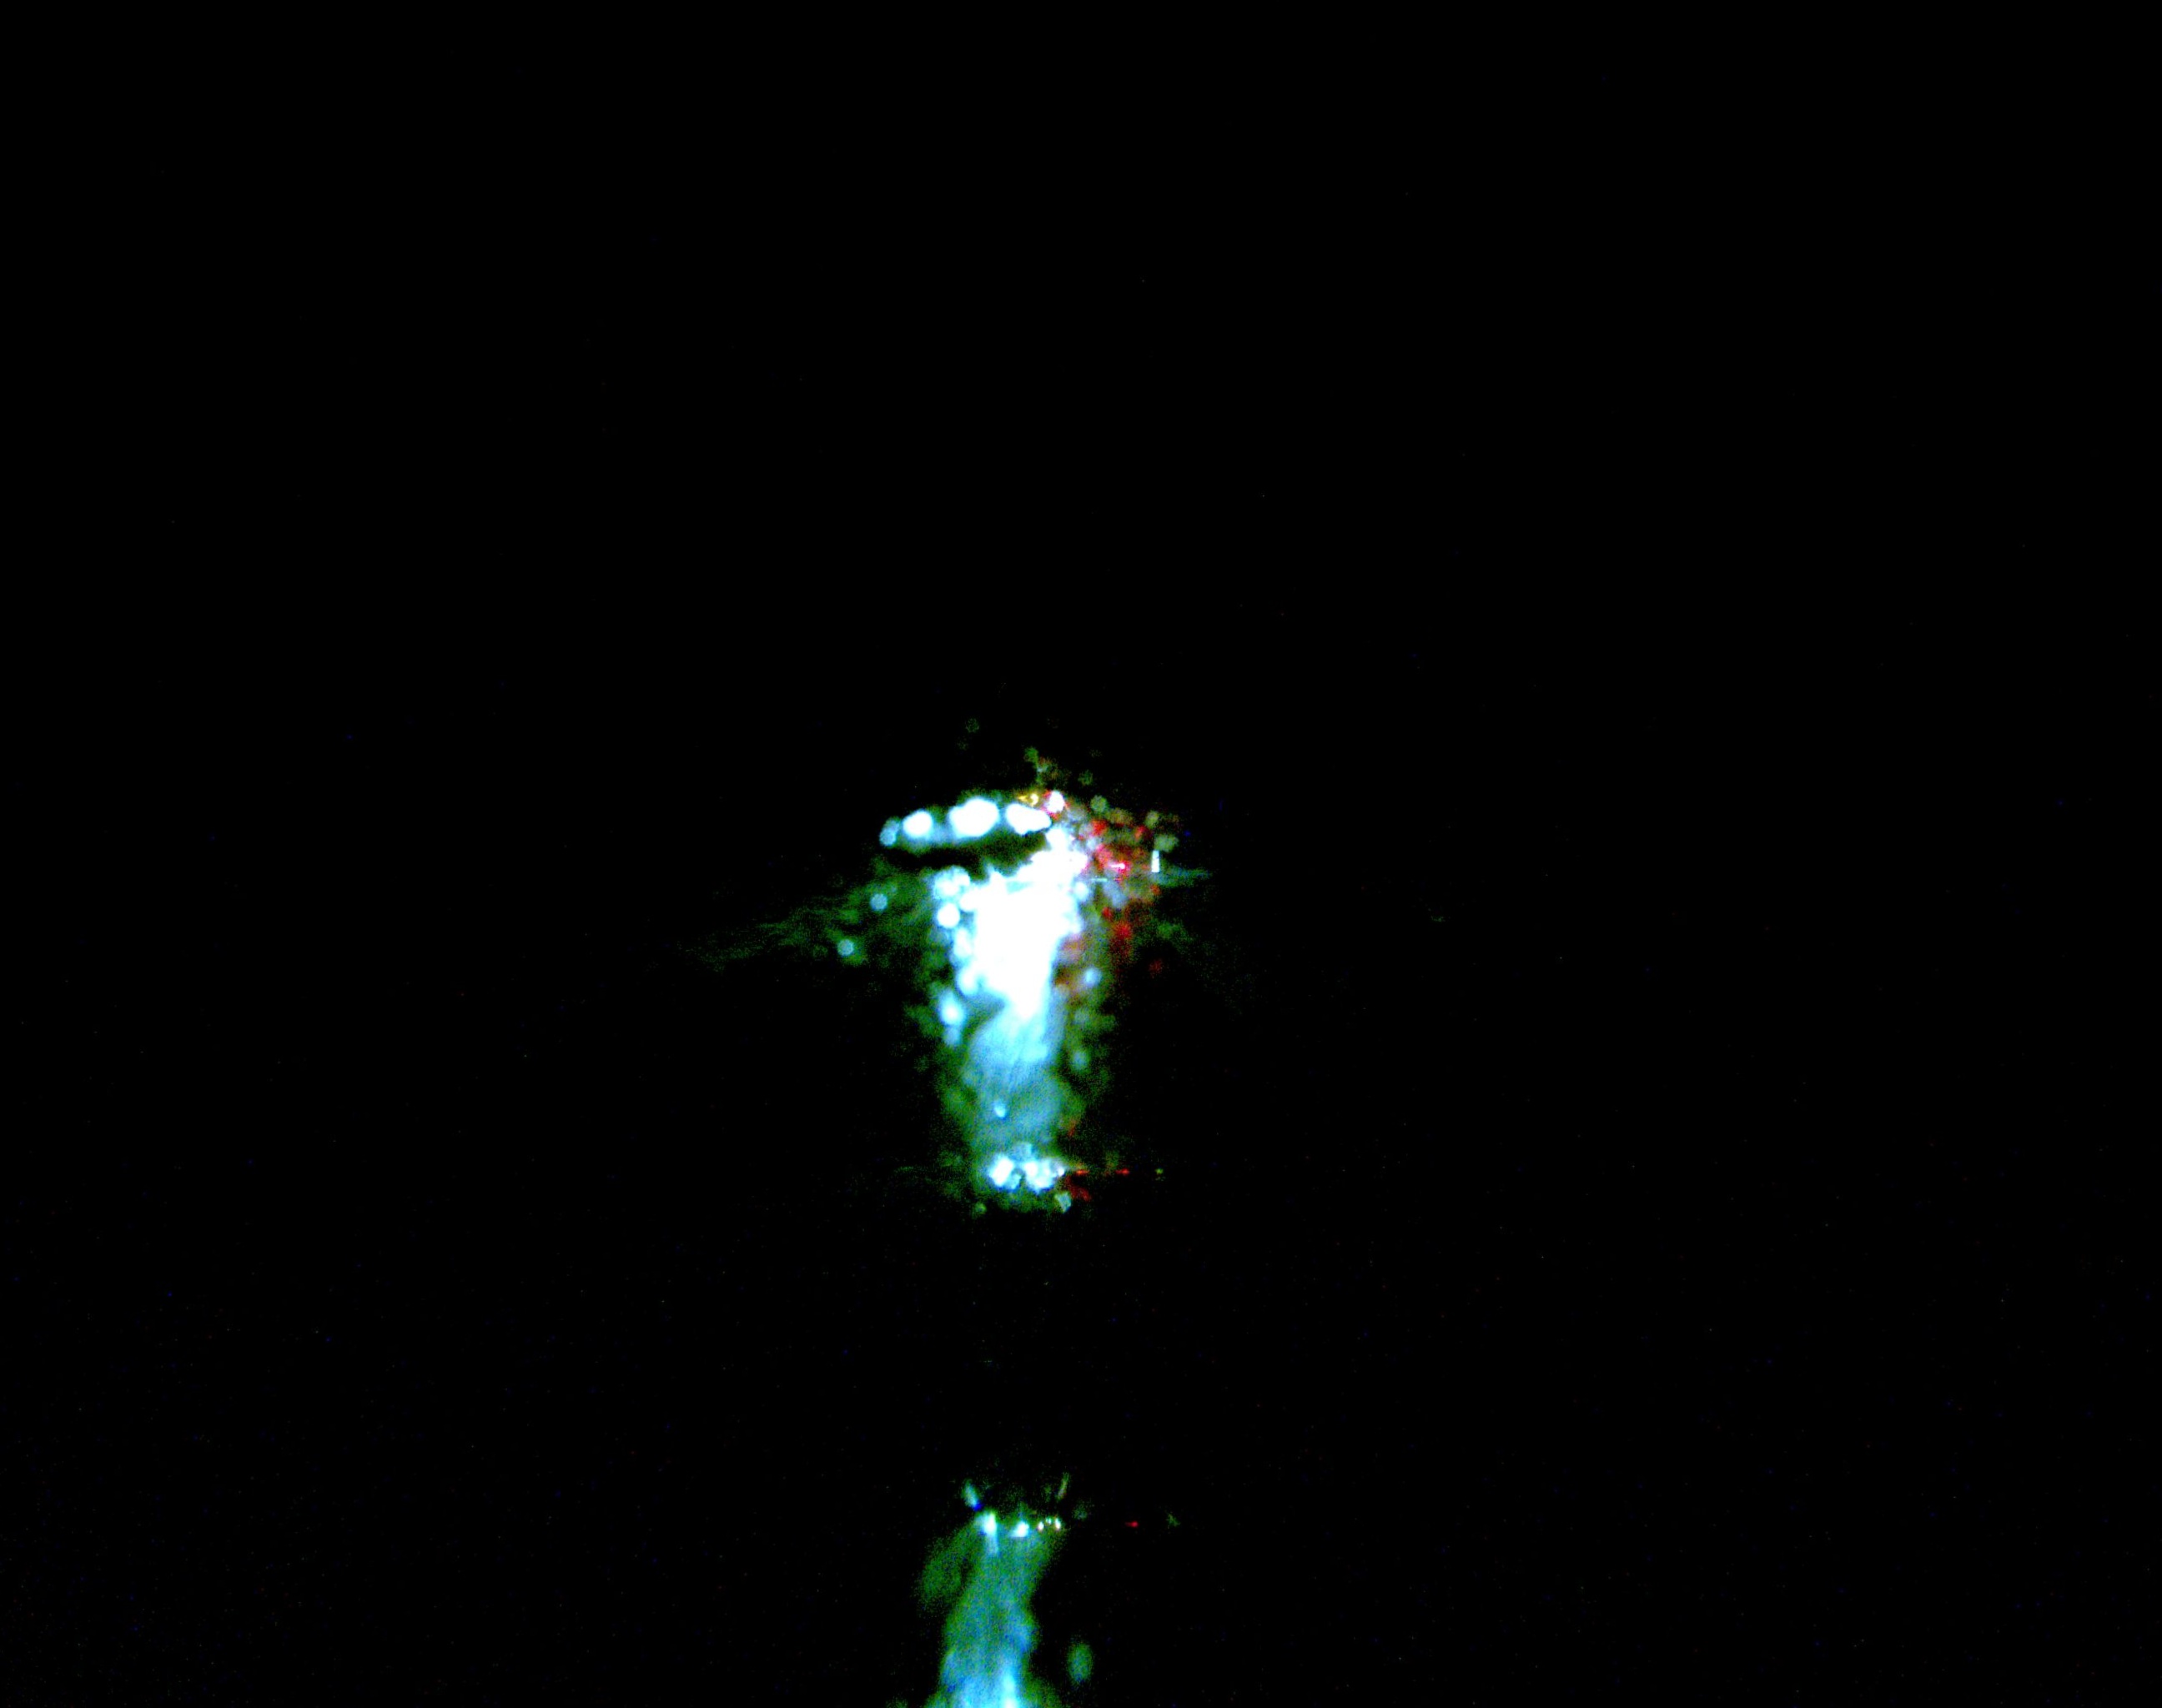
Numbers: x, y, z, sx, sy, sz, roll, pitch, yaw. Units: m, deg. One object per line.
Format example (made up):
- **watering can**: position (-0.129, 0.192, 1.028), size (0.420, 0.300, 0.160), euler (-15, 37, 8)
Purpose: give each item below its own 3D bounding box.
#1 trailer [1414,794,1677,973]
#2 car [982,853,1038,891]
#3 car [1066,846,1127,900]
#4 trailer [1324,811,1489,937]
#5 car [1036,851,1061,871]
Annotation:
- **trailer**: position (7.256, 0.395, 13.333), size (1.601, 2.352, 4.428), euler (3, 0, -1)
- **car**: position (-2.942, 0.722, 34.615), size (1.988, 1.460, 4.896), euler (2, 0, -1)
- **car**: position (0.487, 0.568, 26.640), size (1.795, 1.628, 3.615), euler (1, 0, 0)
- **trailer**: position (7.020, 0.377, 18.137), size (1.625, 2.364, 4.650), euler (3, 0, -1)
- **car**: position (-2.605, 0.559, 65.734), size (1.796, 1.509, 3.614), euler (1, 1, -1)
